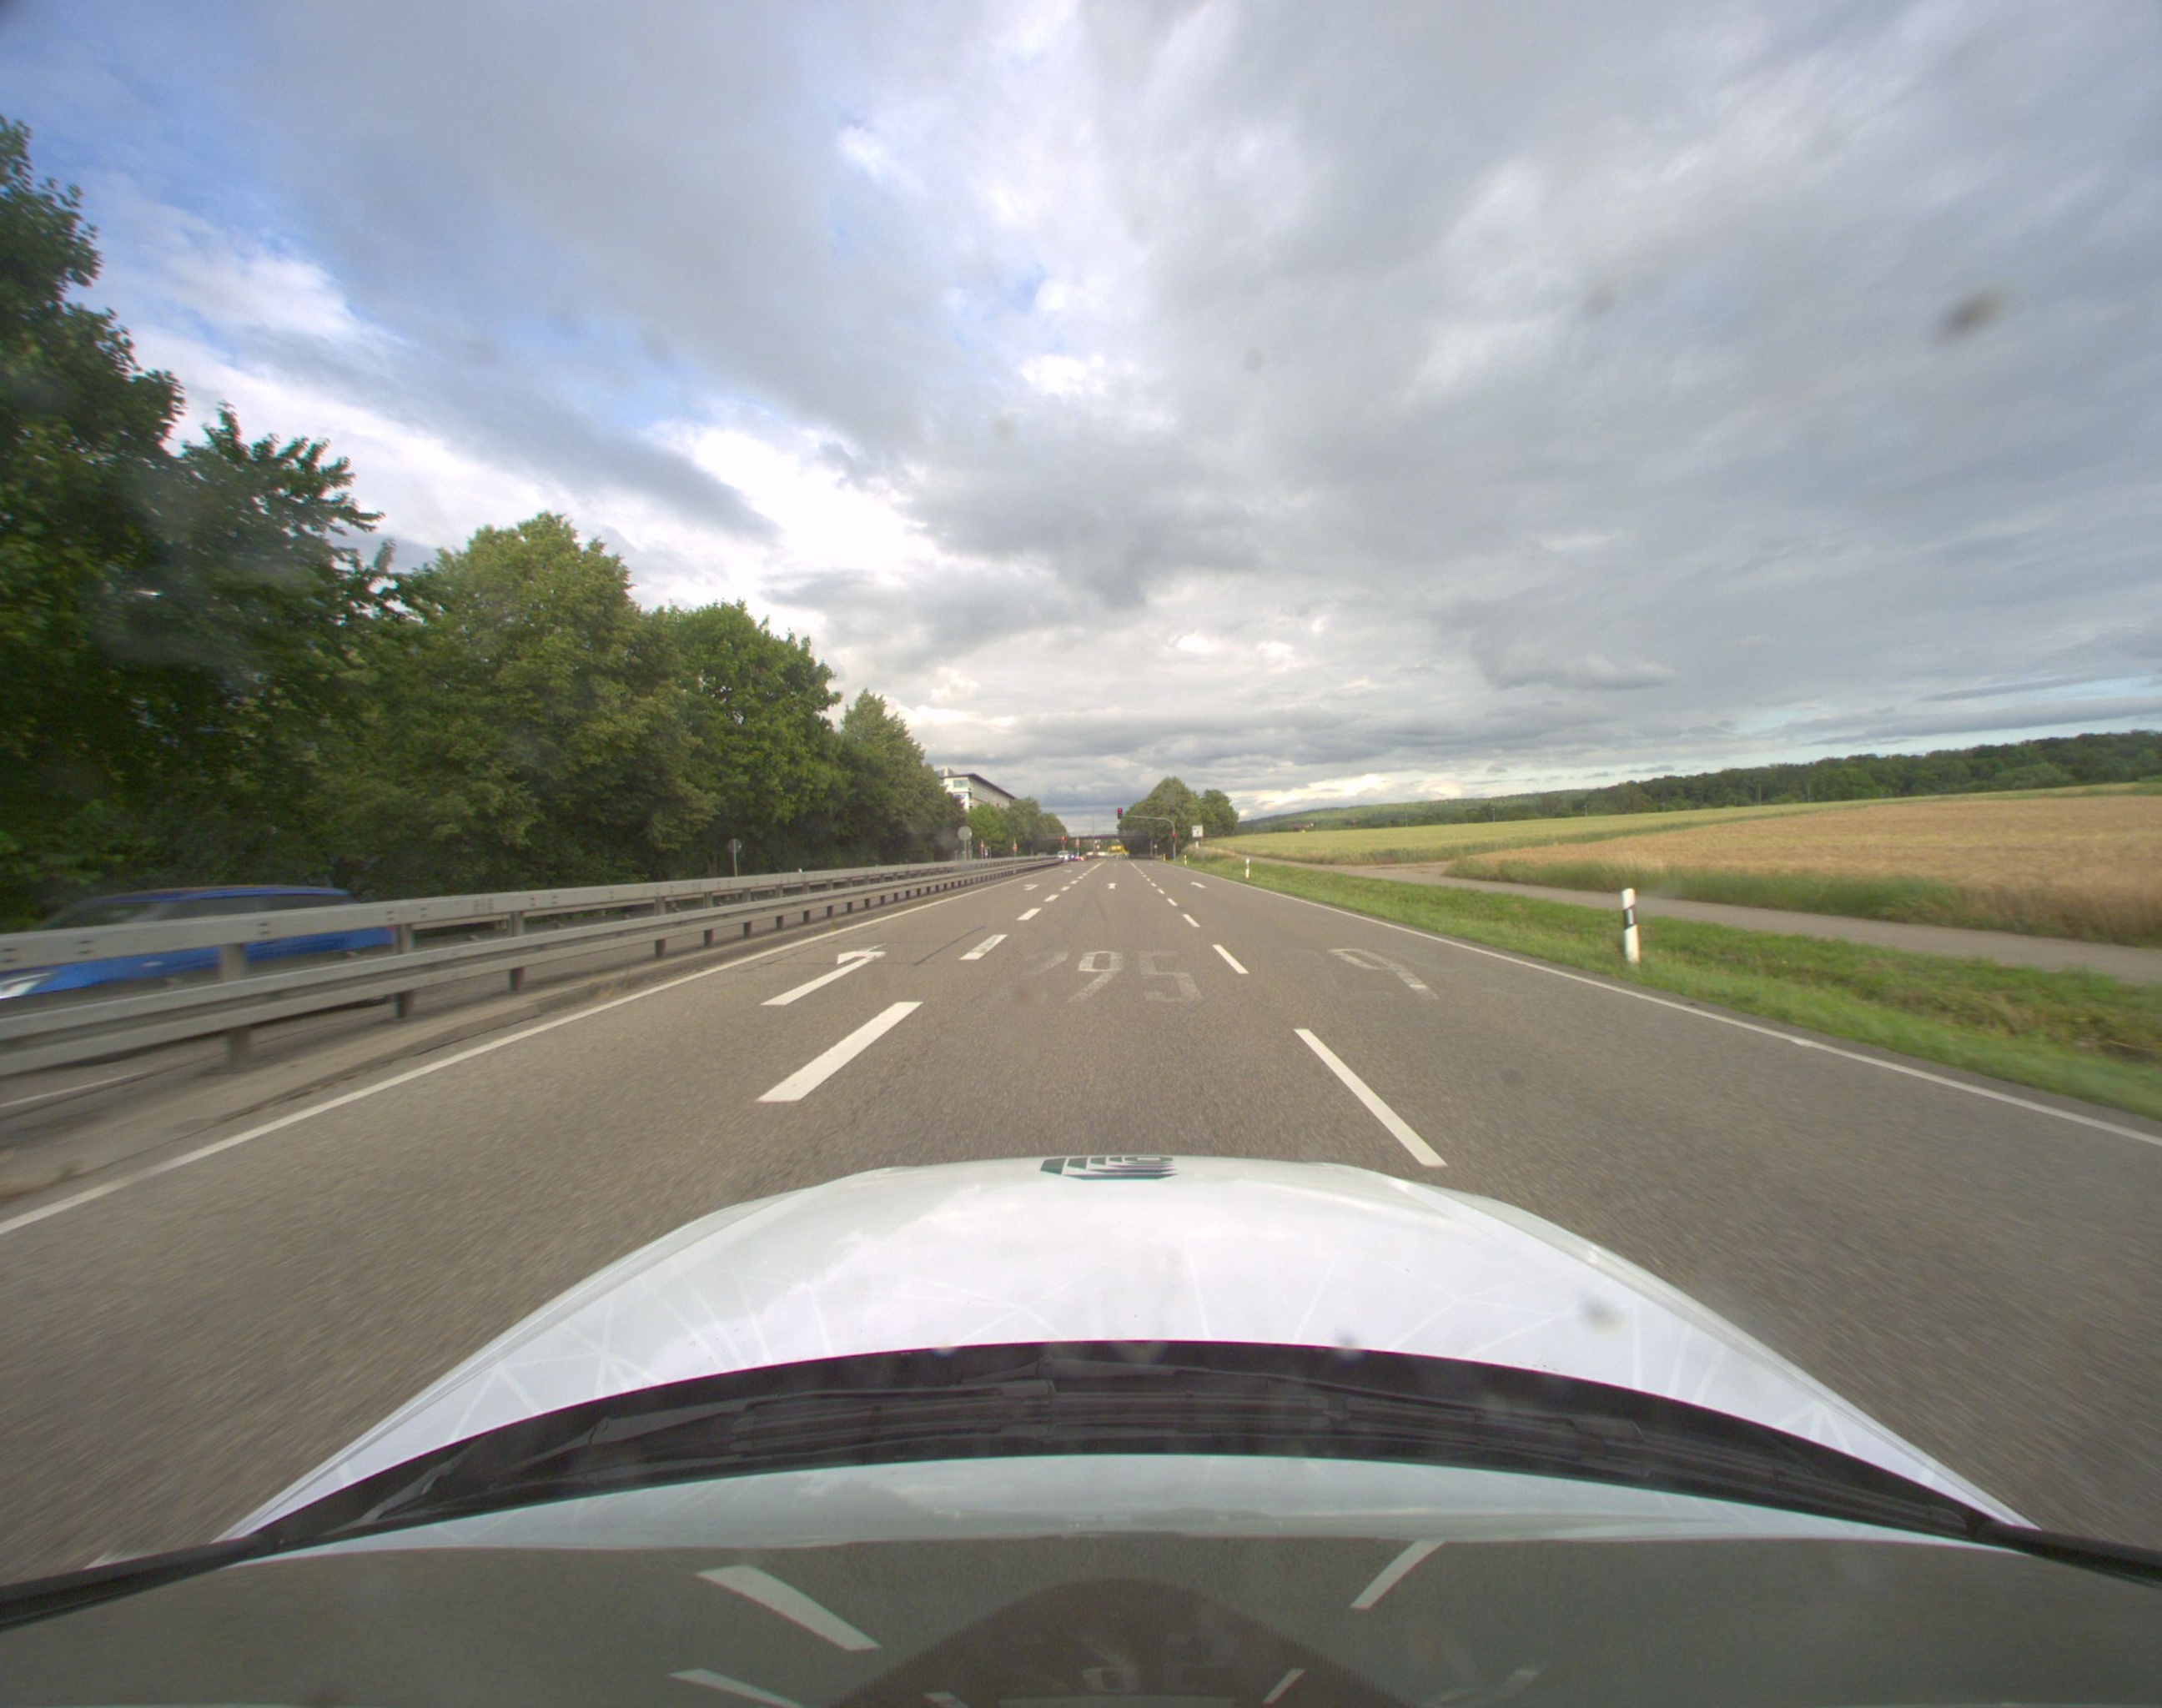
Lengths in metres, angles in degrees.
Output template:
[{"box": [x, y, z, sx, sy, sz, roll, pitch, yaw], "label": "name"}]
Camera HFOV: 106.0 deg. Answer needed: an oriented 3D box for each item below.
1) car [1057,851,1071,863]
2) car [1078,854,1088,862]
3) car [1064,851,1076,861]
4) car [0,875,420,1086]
[{"box": [-2.851, 0.492, 135.959, 1.940, 1.873, 4.740, -2, 1, 3], "label": "car"}, {"box": [0.313, 0.658, 133.848, 1.352, 1.092, 2.924, -2, 1, 3], "label": "car"}, {"box": [-1.971, 0.343, 149.190, 1.986, 1.873, 4.740, -2, 1, 3], "label": "car"}, {"box": [-9.074, 1.056, 8.137, 1.762, 1.468, 3.714, -2, 1, 2], "label": "car"}]
